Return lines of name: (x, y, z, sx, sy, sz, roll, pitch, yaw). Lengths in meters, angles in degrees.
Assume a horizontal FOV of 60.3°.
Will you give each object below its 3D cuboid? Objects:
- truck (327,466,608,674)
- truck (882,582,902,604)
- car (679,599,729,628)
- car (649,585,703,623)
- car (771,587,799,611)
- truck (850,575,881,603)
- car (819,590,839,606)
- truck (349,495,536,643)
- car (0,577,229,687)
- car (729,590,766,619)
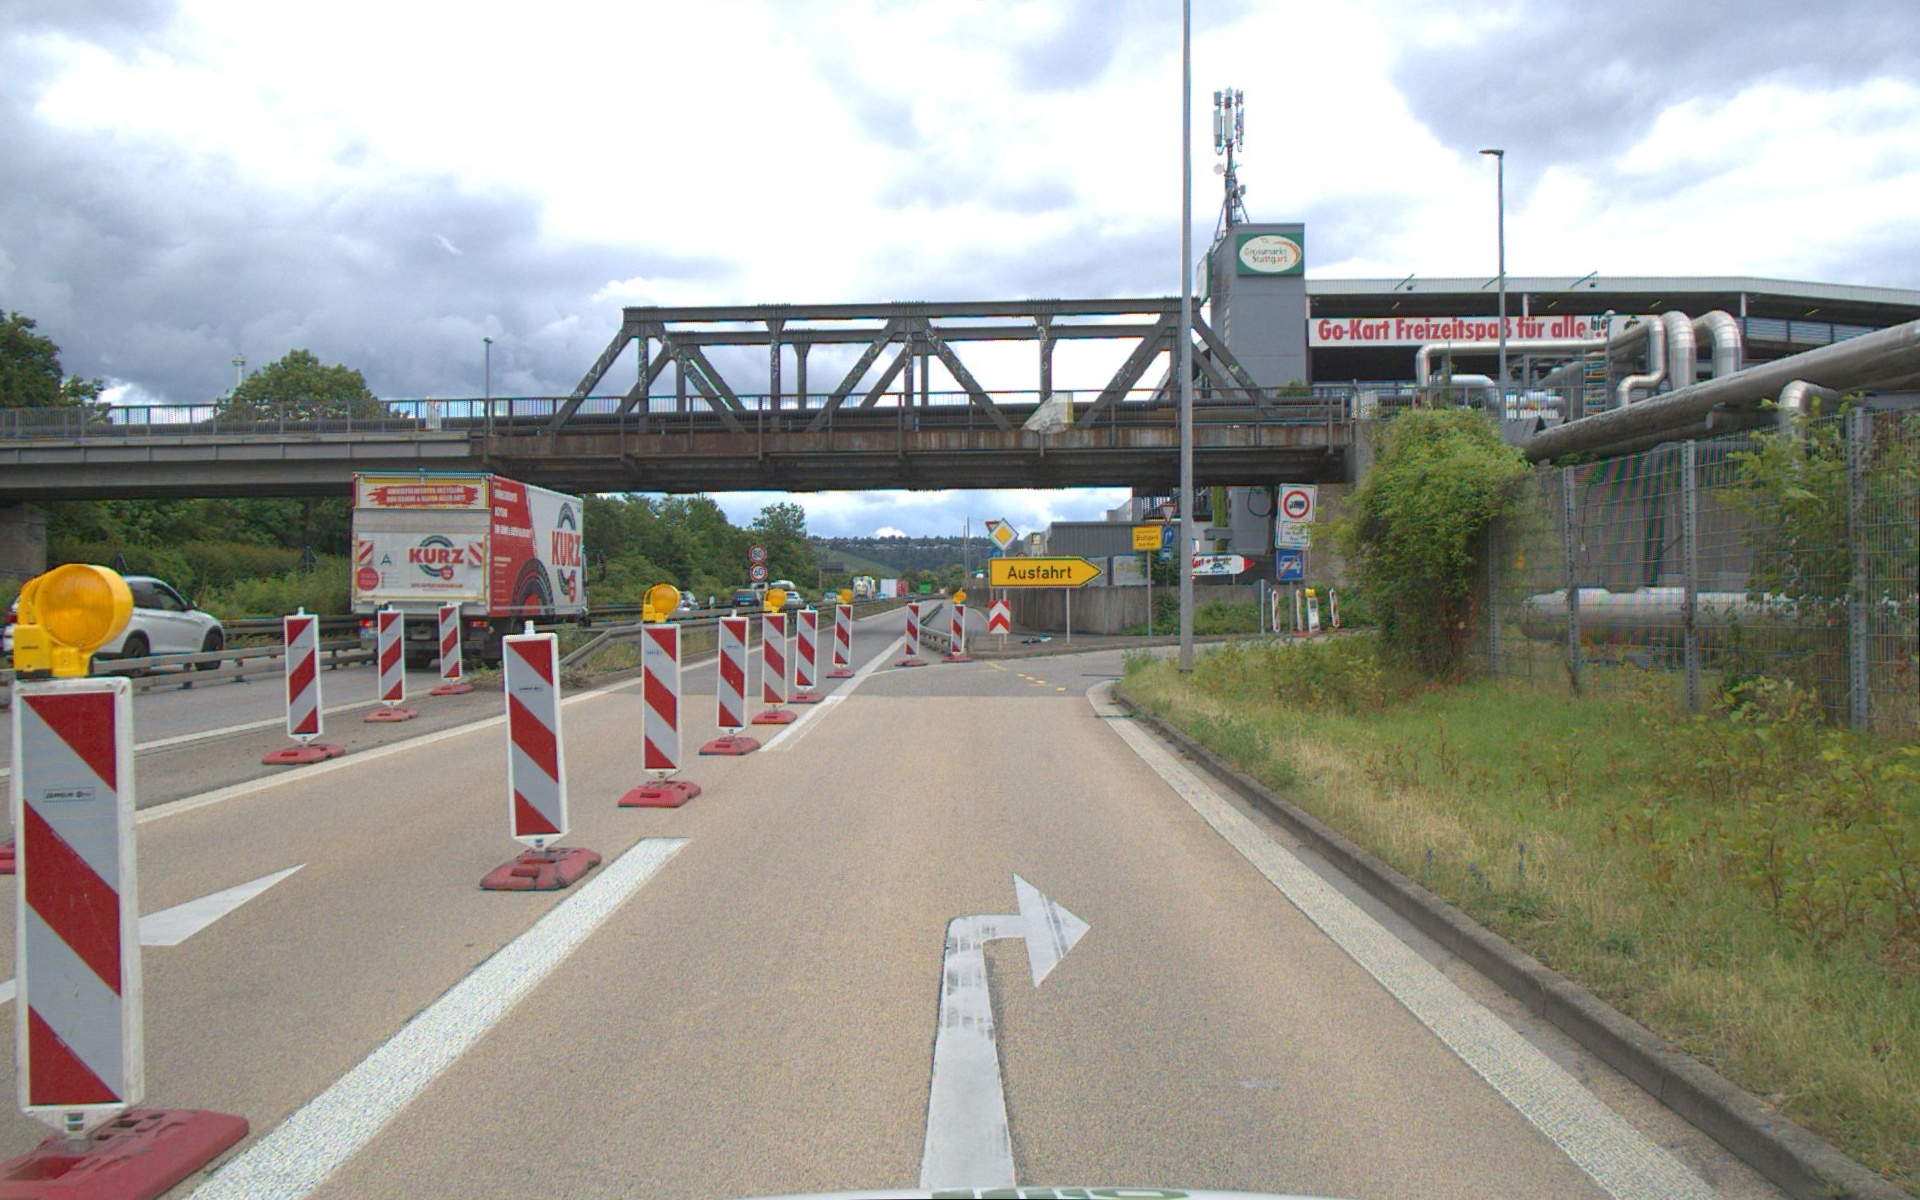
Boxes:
truck: (-9.826, -0.518, 34.477, 2.893, 3.693, 10.152, 0, 0, -1)
truck: (-9.846, -1.001, 240.677, 2.626, 3.195, 6.132, 1, 0, 0)
car: (-13.442, 0.697, 86.941, 1.933, 1.438, 4.599, -1, 0, -1)
car: (-13.937, 0.214, 81.400, 1.953, 1.790, 4.000, -1, 0, 0)
car: (-14.150, -0.098, 133.695, 1.953, 1.847, 3.998, 0, 0, -2)
truck: (-12.542, -1.438, 220.459, 3.643, 3.709, 7.728, 0, 0, 0)
car: (-13.823, -0.249, 174.249, 1.743, 1.624, 3.750, 0, 0, 0)
truck: (-13.799, -0.751, 44.801, 2.934, 3.618, 7.735, -1, 0, -3)
car: (-13.951, 0.497, 27.398, 1.816, 1.669, 4.290, 1, 0, -1)
car: (-13.724, 0.275, 106.848, 1.953, 1.790, 3.999, -1, 0, -1)
